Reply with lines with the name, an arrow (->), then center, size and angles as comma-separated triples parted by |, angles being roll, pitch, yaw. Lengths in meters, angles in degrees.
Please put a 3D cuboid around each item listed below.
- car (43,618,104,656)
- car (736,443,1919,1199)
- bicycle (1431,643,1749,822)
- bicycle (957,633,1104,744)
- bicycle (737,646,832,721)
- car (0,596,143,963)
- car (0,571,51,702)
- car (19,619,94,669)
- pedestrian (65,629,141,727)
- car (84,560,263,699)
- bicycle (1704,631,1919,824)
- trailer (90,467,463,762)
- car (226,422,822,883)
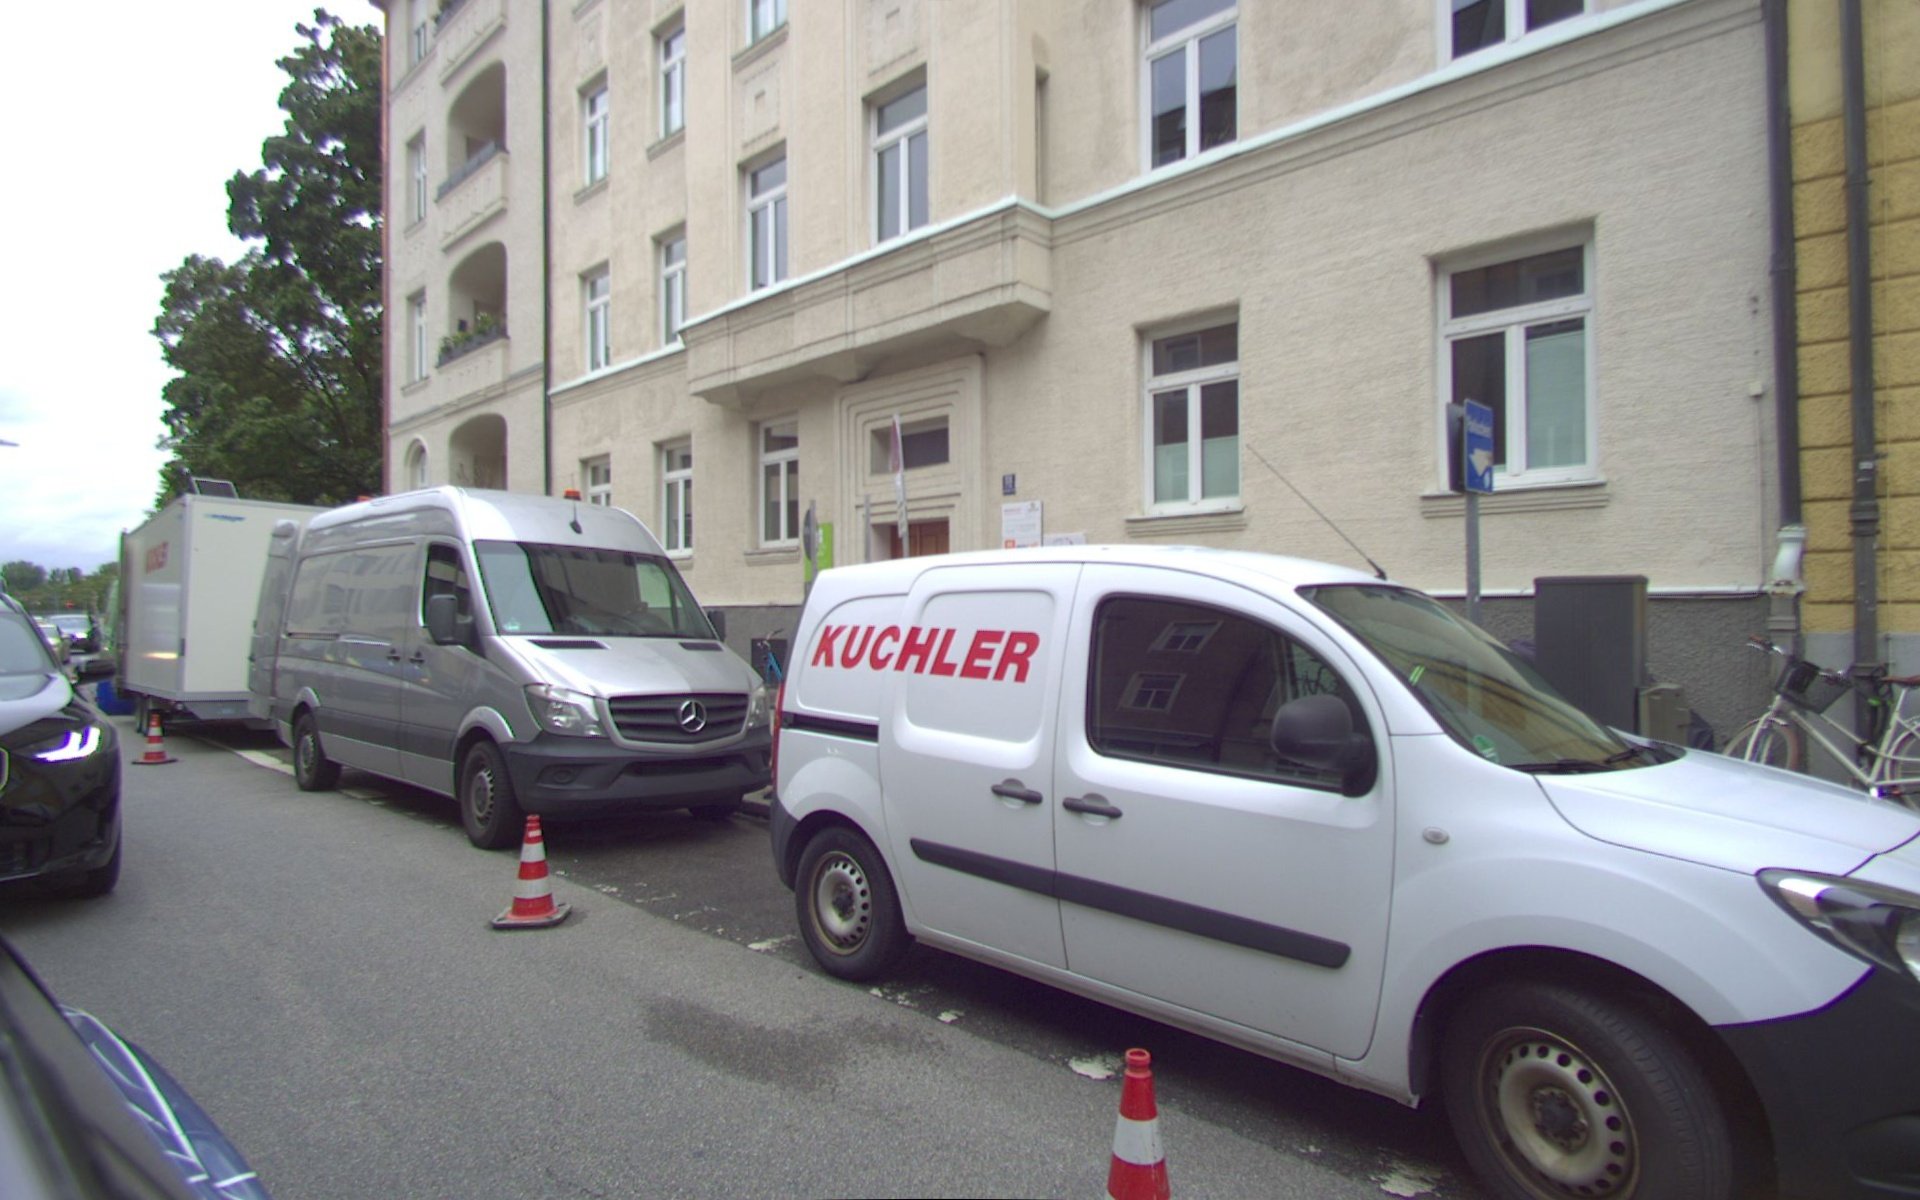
car -> -38.281, 1.589, 43.744 | 1.791, 1.474, 4.170 | 6, -5, -41
car -> 1.152, 0.664, 3.710 | 4.328, 1.792, 1.743 | -1, -3, 44
bicycle -> 4.385, 0.876, 7.171 | 1.859, 1.112, 0.397 | -1, -1, 33
bicycle -> 0.748, 0.929, 11.155 | 1.743, 1.112, 0.423 | -1, -1, 44
bicycle -> -2.500, 1.155, 14.287 | 0.410, 0.921, 1.759 | -4, 2, -42
car -> -5.983, 0.776, 5.533 | 4.296, 1.577, 1.894 | -1, -1, 45
car -> -20.886, 0.703, 21.266 | 1.974, 2.510, 6.248 | 0, 0, -36
car -> -32.272, 1.548, 36.177 | 1.791, 1.601, 4.169 | 6, -5, -42
pedestrian -> -14.365, 1.287, 16.972 | 0.634, 1.592, 0.757 | -1, -2, 26
car -> -17.204, 0.619, 21.958 | 6.796, 2.592, 2.117 | -2, -1, 44
bicycle -> 5.777, 0.773, 6.322 | 1.766, 1.112, 0.501 | -1, 2, 43
trailer -> -9.719, 0.339, 13.950 | 2.771, 2.992, 7.604 | 5, -5, -44
car -> -4.241, 0.427, 8.822 | 6.876, 2.607, 2.033 | -2, -6, 43
